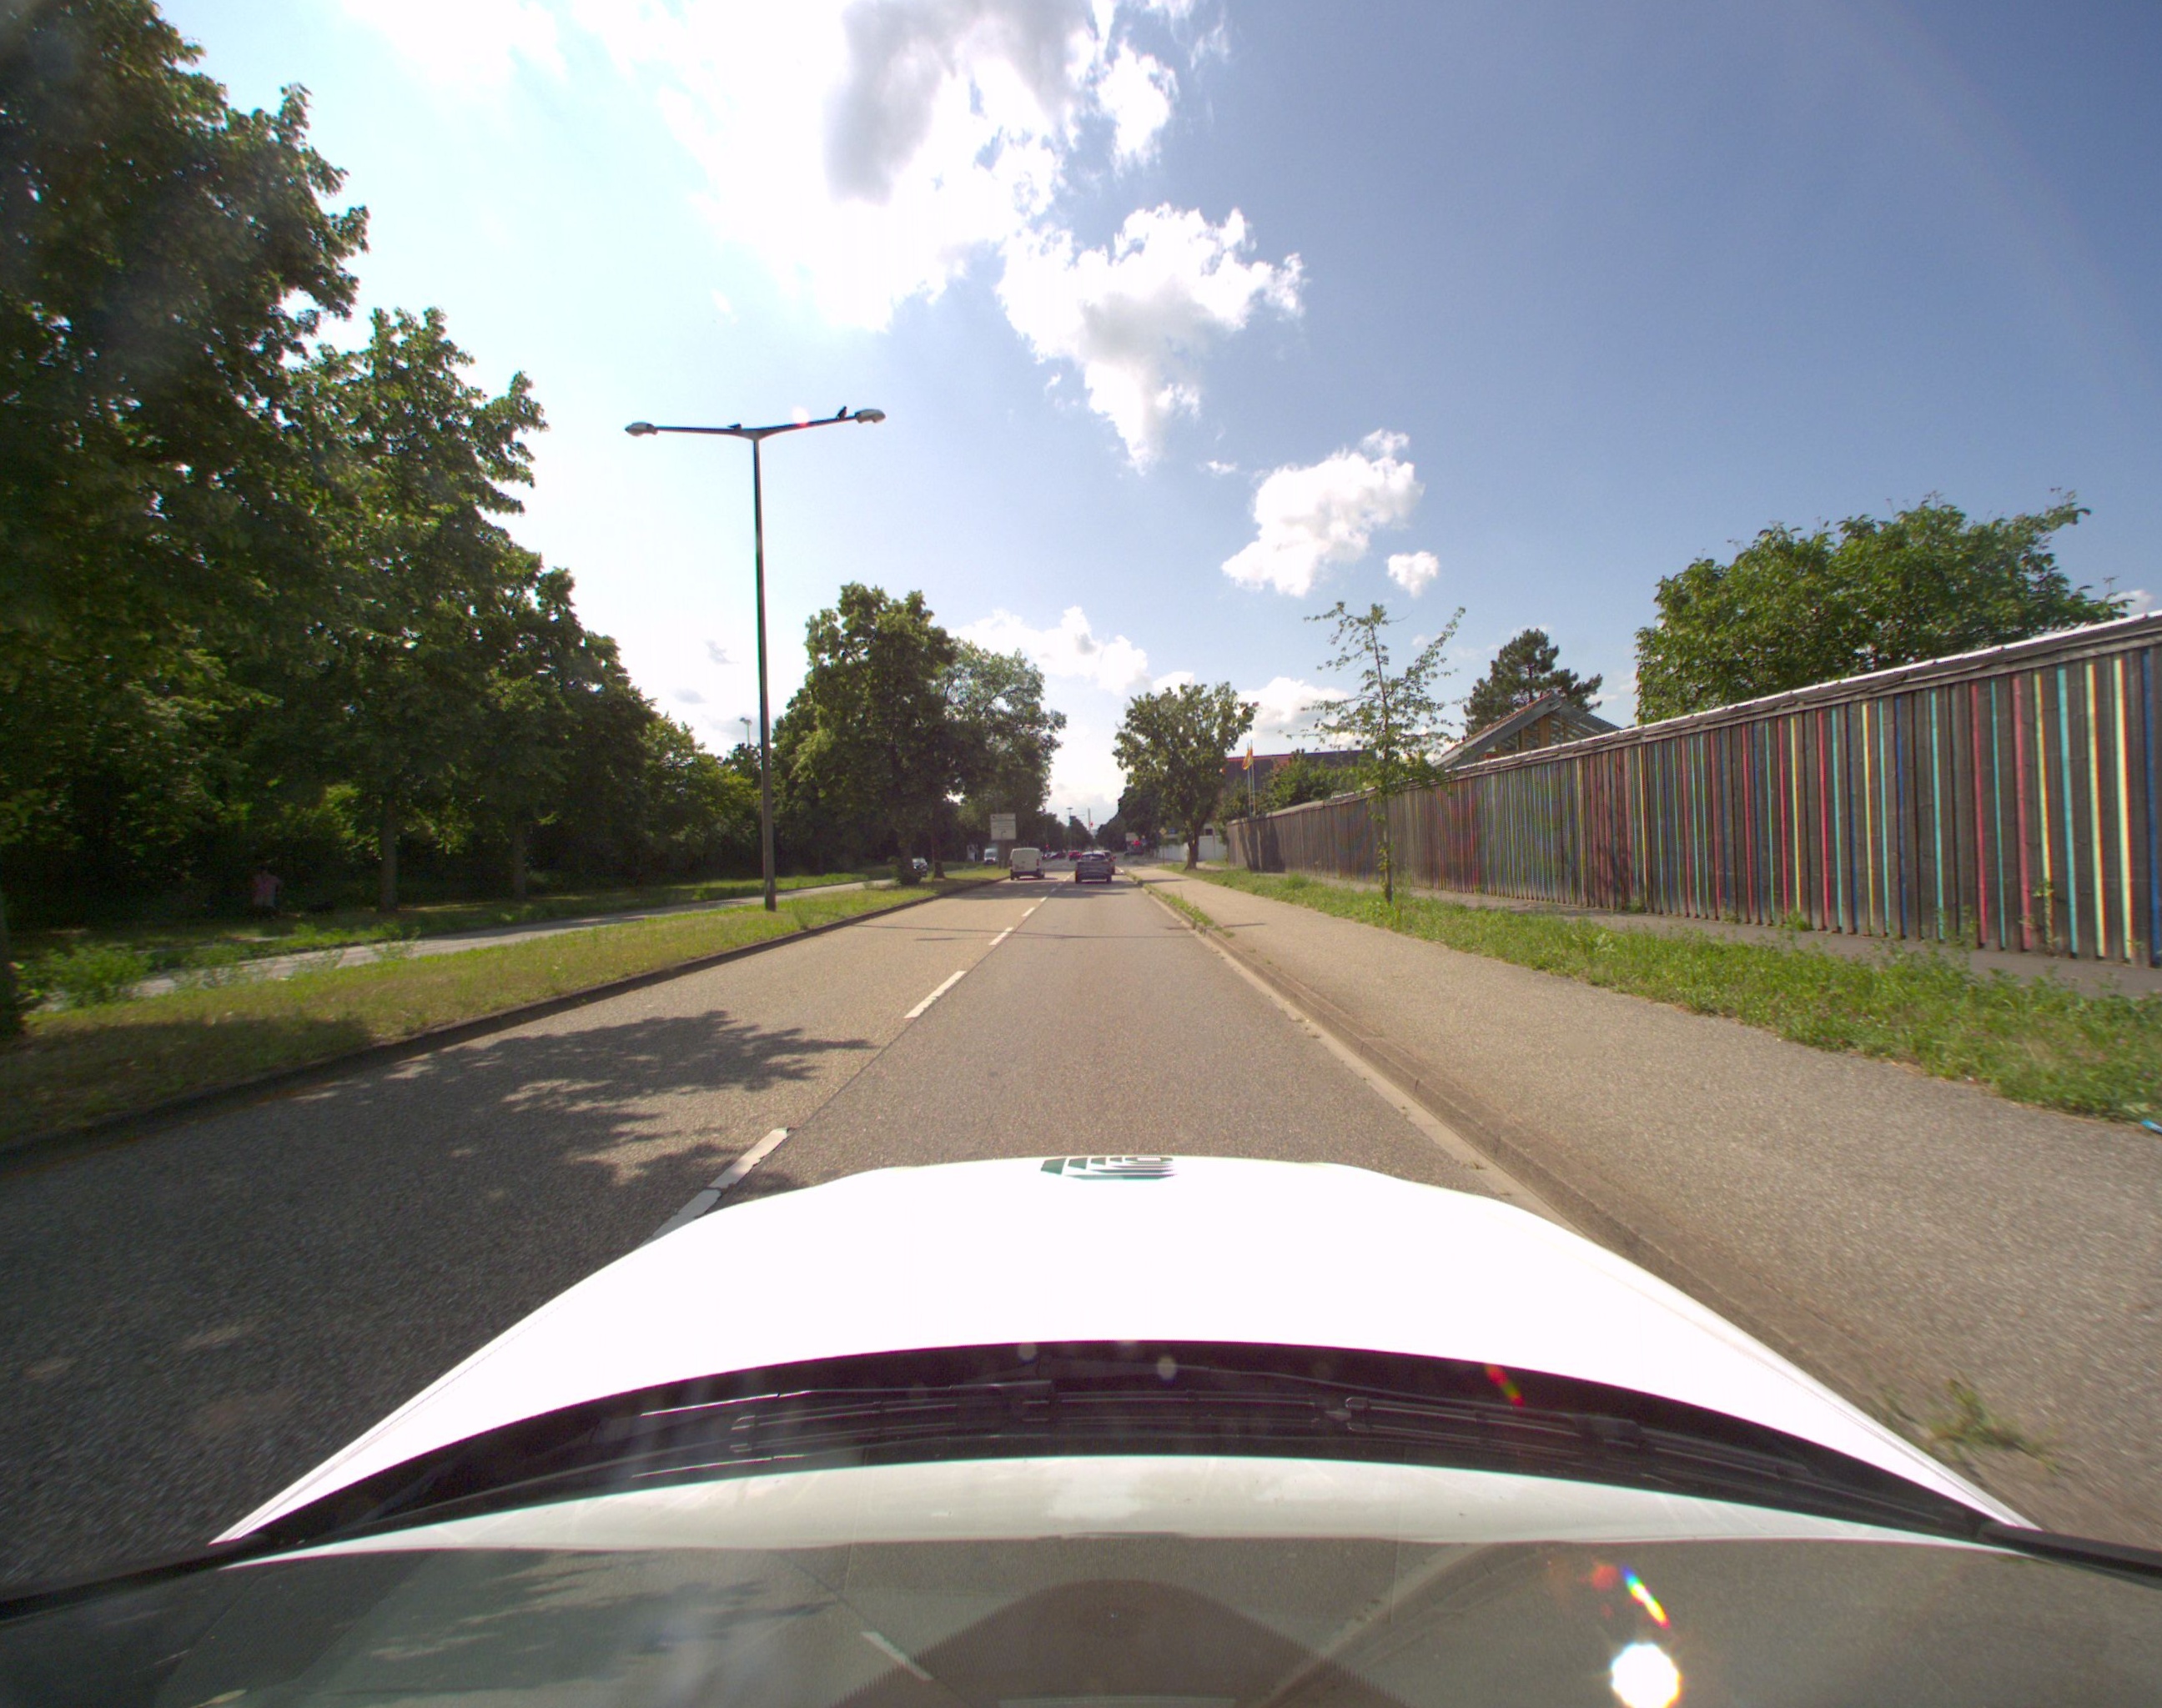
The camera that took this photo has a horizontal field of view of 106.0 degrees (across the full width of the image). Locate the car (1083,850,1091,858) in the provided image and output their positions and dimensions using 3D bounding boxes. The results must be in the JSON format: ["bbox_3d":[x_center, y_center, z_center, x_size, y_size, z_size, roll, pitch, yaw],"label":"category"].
[{"bbox_3d":[1.307,-0.053,179.549,1.773,1.767,4.001,-2,0,1],"label":"car"}]

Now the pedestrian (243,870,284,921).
[{"bbox_3d":[-27.025,1.367,26.929,0.641,1.630,0.656,-1,0,2],"label":"pedestrian"}]

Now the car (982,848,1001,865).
[{"bbox_3d":[-13.476,0.404,123.339,2.038,2.431,5.251,-2,0,1],"label":"car"}]

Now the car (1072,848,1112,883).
[{"bbox_3d":[0.571,0.535,40.770,1.868,1.589,4.186,-2,0,1],"label":"car"}]

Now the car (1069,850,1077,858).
[{"bbox_3d":[-1.965,-0.042,195.750,1.773,1.767,4.152,-2,0,1],"label":"car"}]

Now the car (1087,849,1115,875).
[{"bbox_3d":[1.391,0.499,55.367,1.773,1.643,4.198,-2,0,1],"label":"car"}]

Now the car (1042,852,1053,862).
[{"bbox_3d":[-6.630,0.566,161.014,1.773,1.767,4.127,-2,0,1],"label":"car"}]

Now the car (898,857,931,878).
[{"bbox_3d":[-14.802,1.146,72.567,1.986,1.705,4.195,-2,0,1],"label":"car"}]

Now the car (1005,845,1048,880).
[{"bbox_3d":[-3.165,0.441,48.354,2.058,1.912,4.647,-2,0,1],"label":"car"}]

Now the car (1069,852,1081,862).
[{"bbox_3d":[-1.097,0.529,142.497,1.934,1.767,4.147,-2,0,1],"label":"car"}]
